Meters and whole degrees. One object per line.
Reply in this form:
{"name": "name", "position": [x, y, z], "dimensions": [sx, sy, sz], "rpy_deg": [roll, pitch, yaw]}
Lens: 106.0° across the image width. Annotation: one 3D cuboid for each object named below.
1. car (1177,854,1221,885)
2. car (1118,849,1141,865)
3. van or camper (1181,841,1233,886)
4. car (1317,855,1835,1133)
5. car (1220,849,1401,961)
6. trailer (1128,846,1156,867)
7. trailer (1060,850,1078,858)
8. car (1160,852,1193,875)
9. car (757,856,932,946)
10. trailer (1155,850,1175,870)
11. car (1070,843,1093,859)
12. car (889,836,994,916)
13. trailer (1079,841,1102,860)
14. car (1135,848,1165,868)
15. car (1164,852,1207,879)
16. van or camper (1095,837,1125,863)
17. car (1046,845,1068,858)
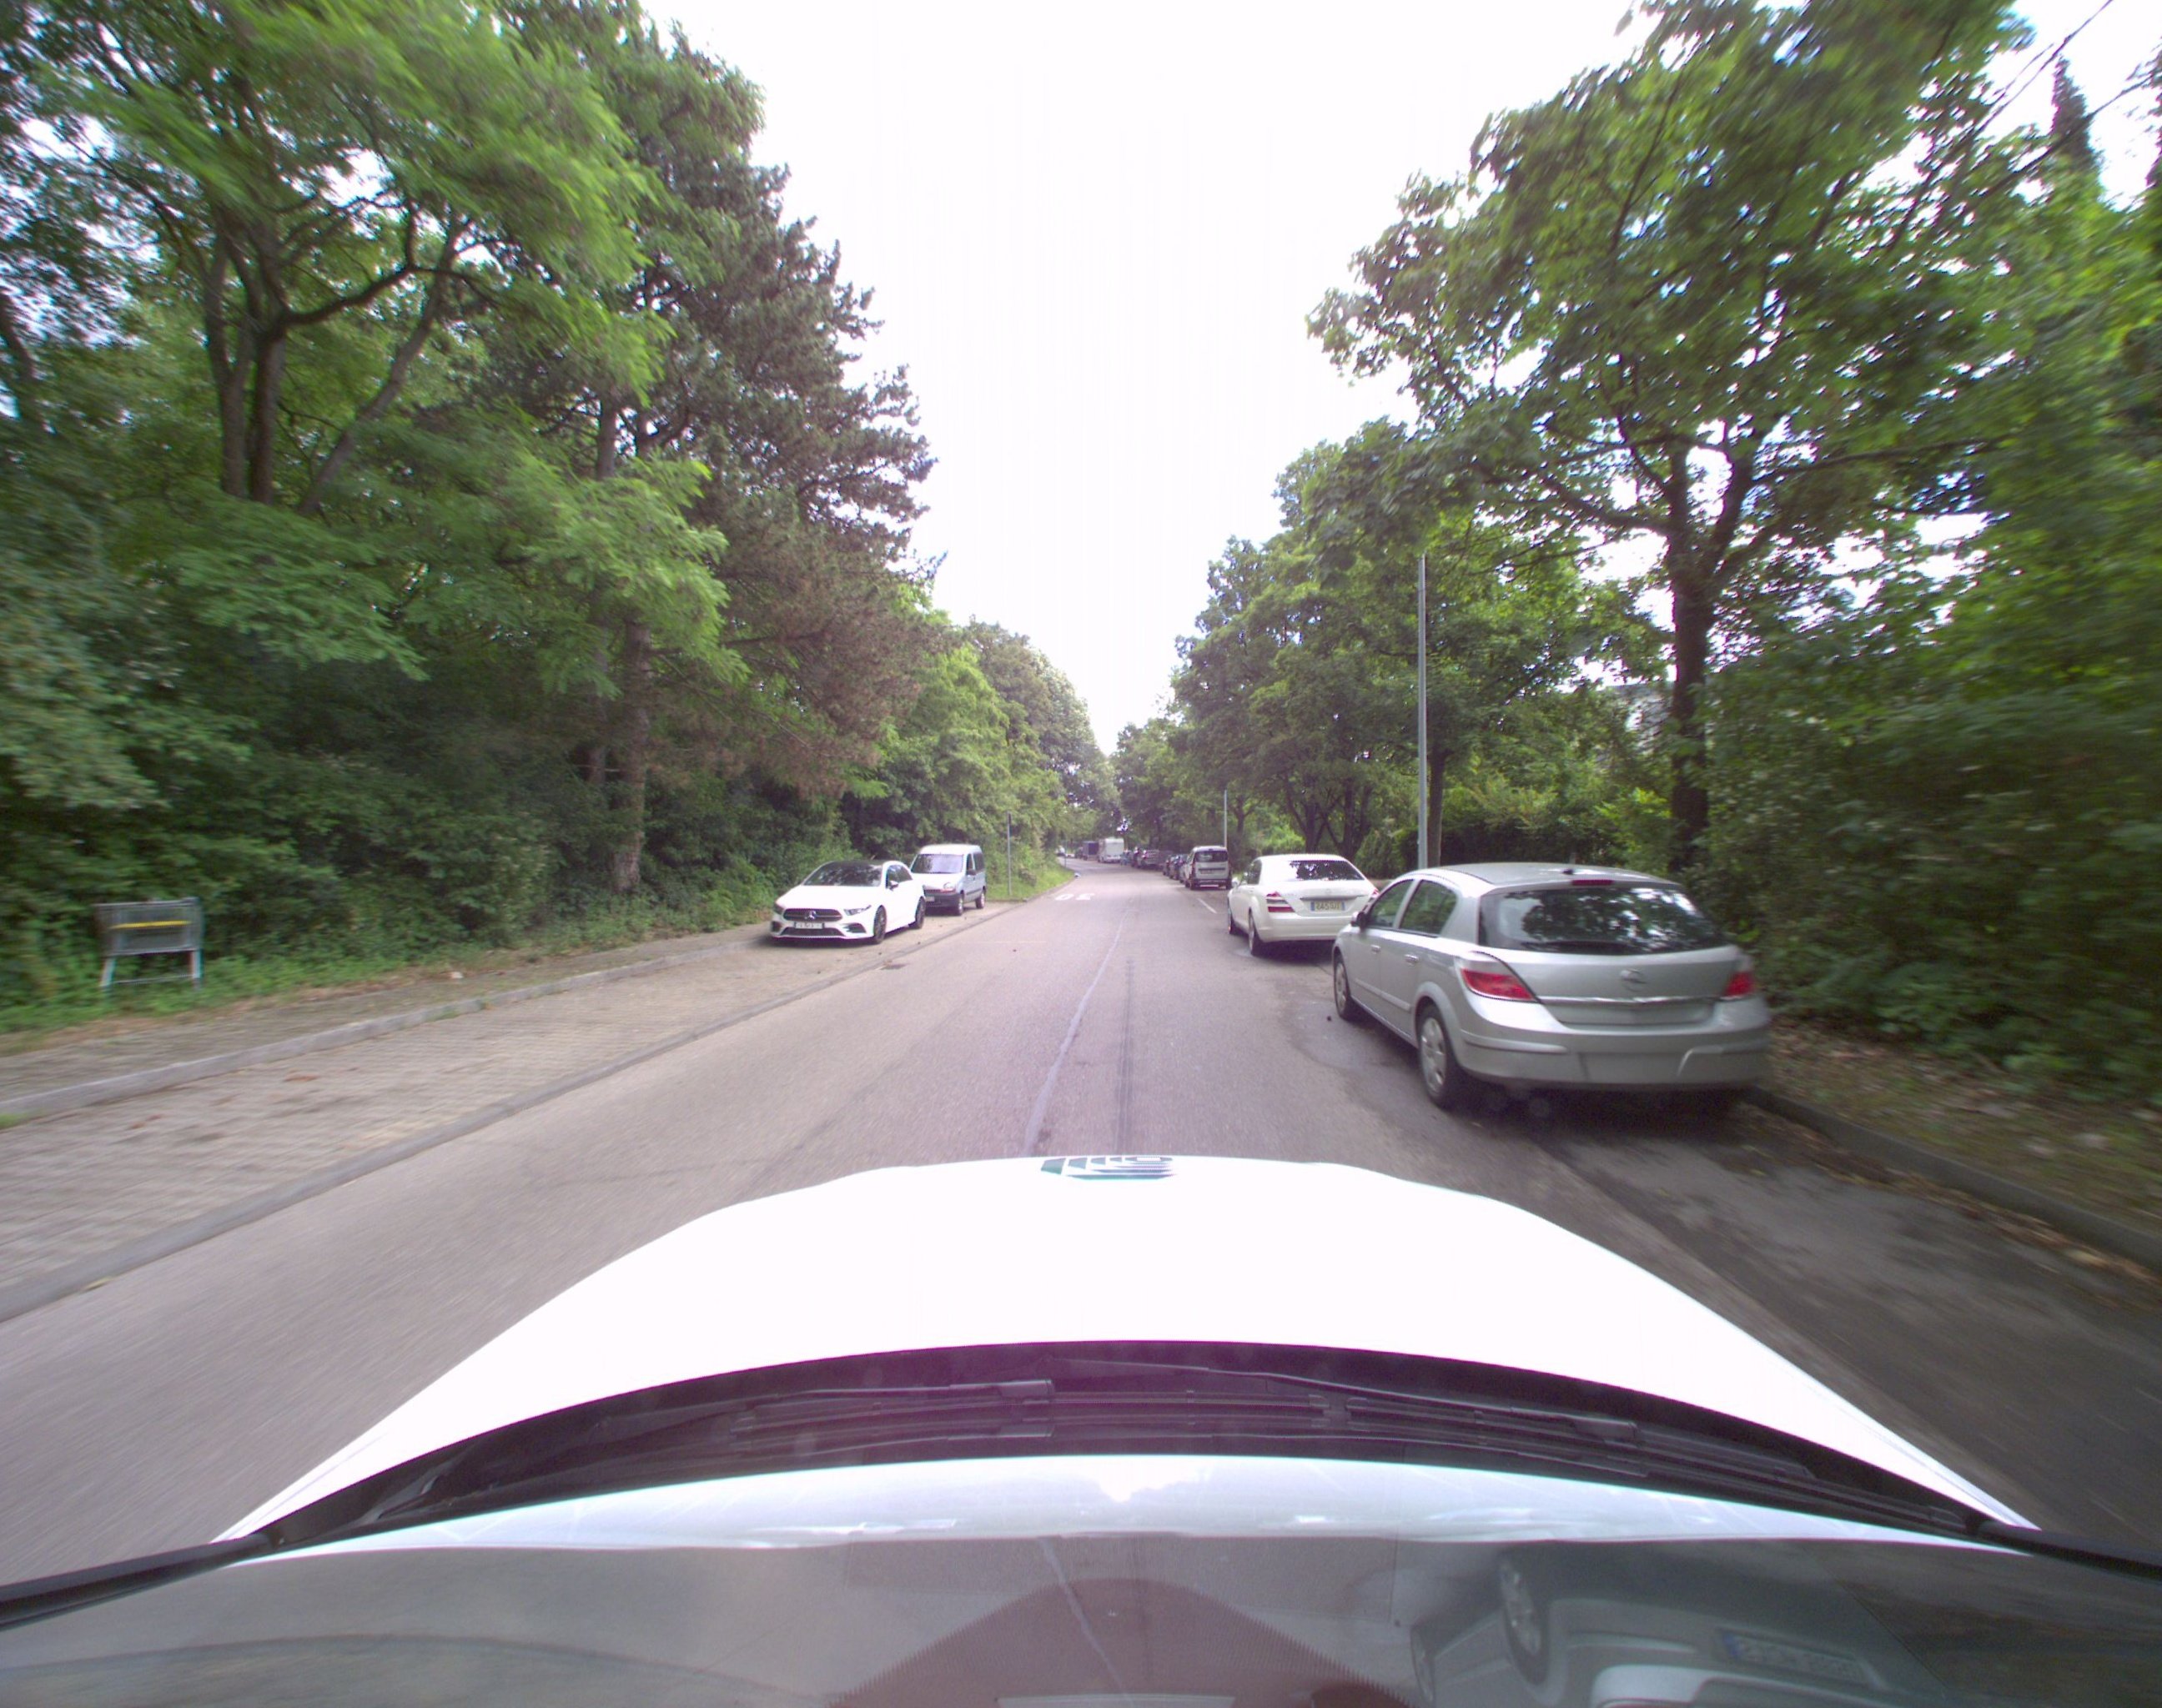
{"name": "car", "position": [5.849, 0.727, 40.859], "dimensions": [1.805, 1.437, 4.245], "rpy_deg": [0, 0, 3]}
{"name": "car", "position": [5.178, 0.286, 86.949], "dimensions": [1.797, 1.562, 3.827], "rpy_deg": [-1, 1, -6]}
{"name": "van or camper", "position": [5.378, 0.434, 35.120], "dimensions": [1.794, 1.838, 4.324], "rpy_deg": [0, -1, 3]}
{"name": "car", "position": [3.128, 0.730, 6.245], "dimensions": [1.784, 1.411, 4.065], "rpy_deg": [-1, 0, 5]}
{"name": "car", "position": [3.561, 0.690, 13.684], "dimensions": [1.878, 1.507, 5.181], "rpy_deg": [-1, 0, 4]}
{"name": "trailer", "position": [5.745, 0.228, 77.599], "dimensions": [1.975, 1.811, 5.142], "rpy_deg": [-1, 1, -4]}
{"name": "trailer", "position": [-1.719, -0.036, 116.976], "dimensions": [1.654, 1.086, 3.982], "rpy_deg": [-3, 2, -14]}
{"name": "car", "position": [6.328, 0.626, 54.208], "dimensions": [1.715, 1.453, 3.916], "rpy_deg": [0, 0, -1]}
{"name": "car", "position": [-4.243, 0.764, 15.420], "dimensions": [1.798, 1.403, 4.376], "rpy_deg": [1, 0, 3]}
{"name": "trailer", "position": [6.672, 0.461, 64.989], "dimensions": [1.275, 1.585, 2.459], "rpy_deg": [0, 0, -1]}
{"name": "car", "position": [0.073, -0.444, 113.232], "dimensions": [1.998, 2.025, 3.978], "rpy_deg": [-4, 3, -17]}
{"name": "car", "position": [-3.636, 0.514, 22.010], "dimensions": [1.712, 1.921, 4.111], "rpy_deg": [1, 1, 6]}
{"name": "trailer", "position": [1.228, -0.466, 107.861], "dimensions": [1.998, 2.398, 3.978], "rpy_deg": [-1, 1, -16]}
{"name": "car", "position": [5.967, 0.400, 71.076], "dimensions": [1.789, 1.670, 4.493], "rpy_deg": [-1, -1, -5]}
{"name": "car", "position": [5.979, 0.606, 47.124], "dimensions": [1.842, 1.474, 4.476], "rpy_deg": [0, 0, -1]}
{"name": "van or camper", "position": [3.394, -0.487, 97.249], "dimensions": [2.481, 2.876, 6.870], "rpy_deg": [-1, 0, -8]}
{"name": "car", "position": [-3.723, -0.413, 126.045], "dimensions": [2.043, 1.803, 4.054], "rpy_deg": [-2, 1, -21]}
